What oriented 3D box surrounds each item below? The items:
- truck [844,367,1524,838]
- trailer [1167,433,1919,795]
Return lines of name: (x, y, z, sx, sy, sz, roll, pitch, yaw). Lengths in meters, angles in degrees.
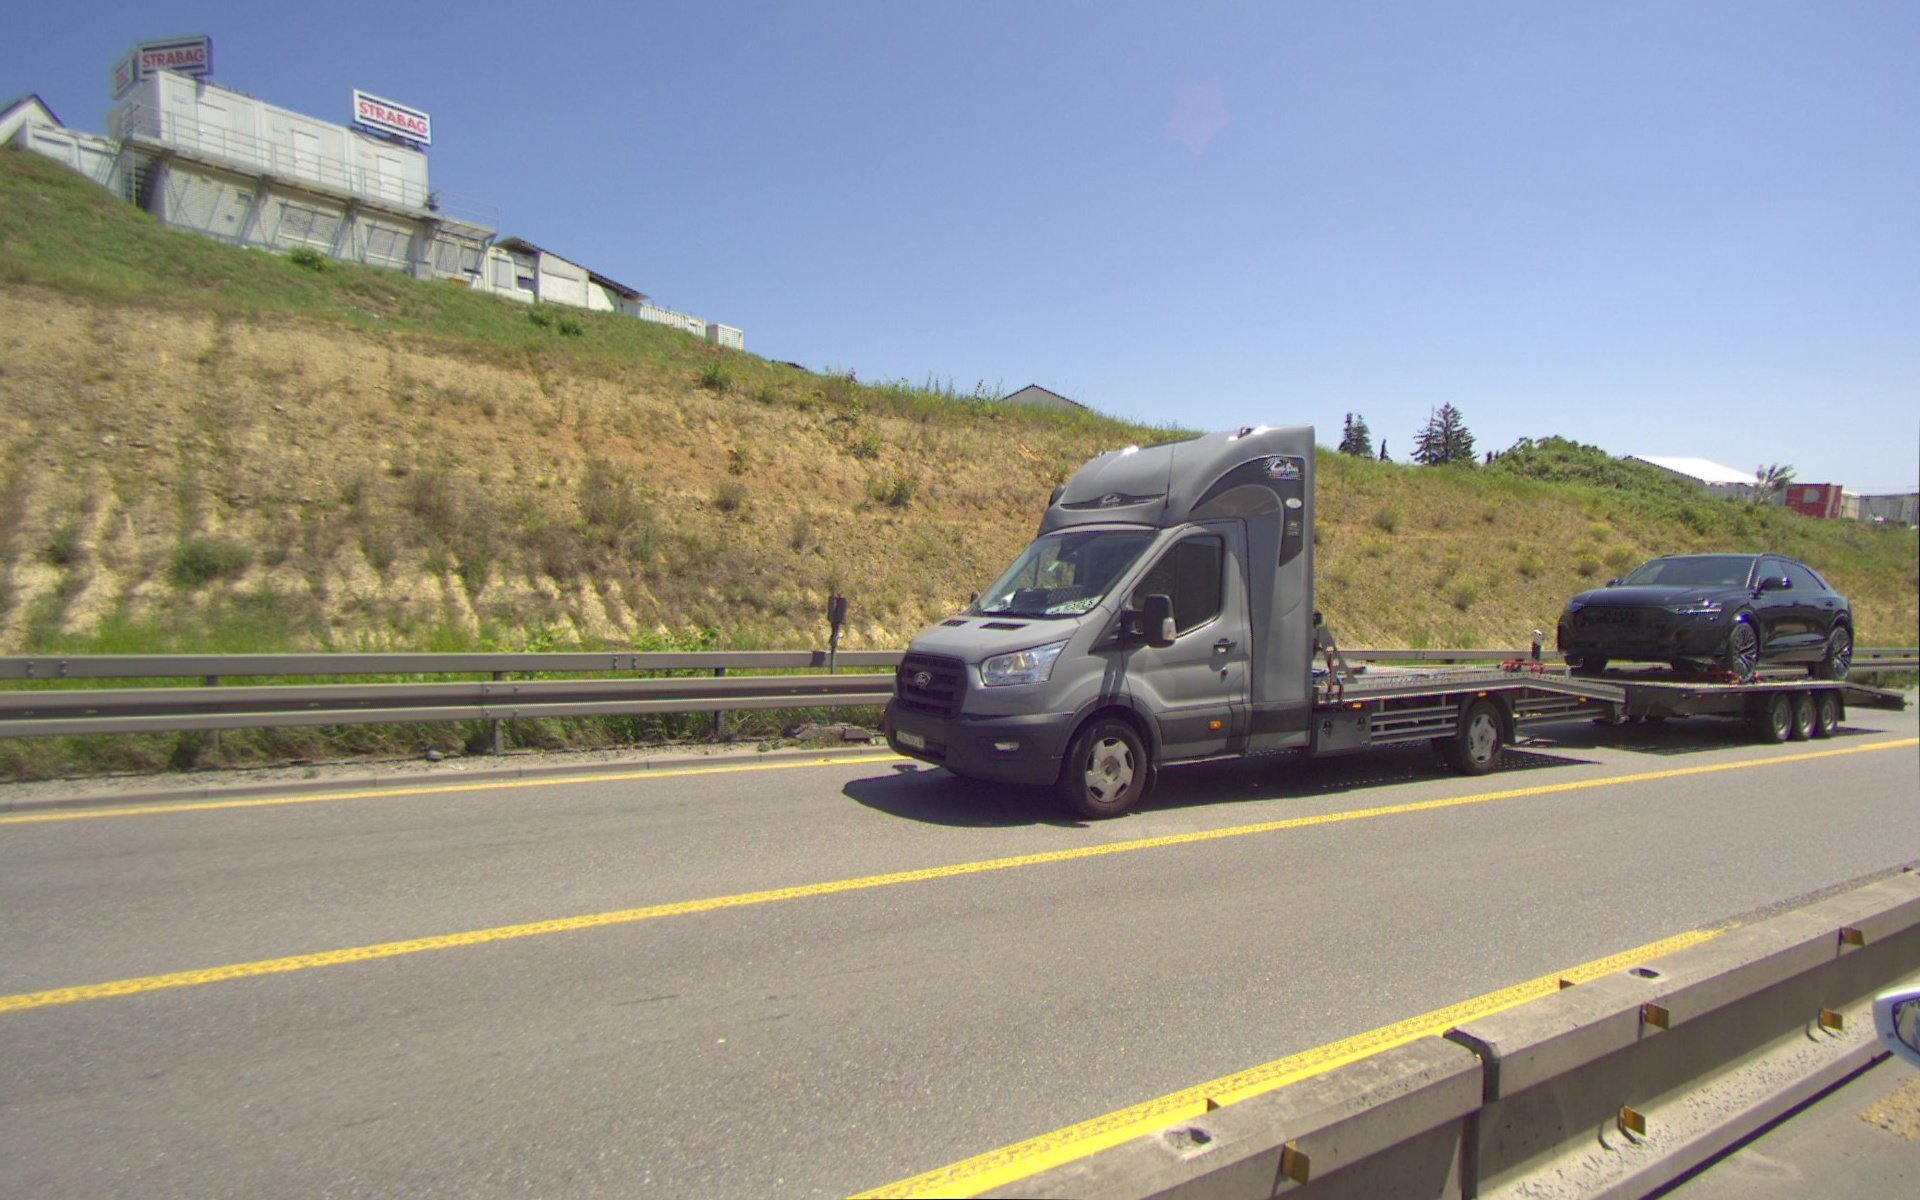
truck: (2.119, 0.064, 8.715, 5.784, 2.921, 2.256, 1, 0, -31)
trailer: (8.176, 0.234, 12.422, 12.893, 2.921, 2.256, 1, 0, -31)
